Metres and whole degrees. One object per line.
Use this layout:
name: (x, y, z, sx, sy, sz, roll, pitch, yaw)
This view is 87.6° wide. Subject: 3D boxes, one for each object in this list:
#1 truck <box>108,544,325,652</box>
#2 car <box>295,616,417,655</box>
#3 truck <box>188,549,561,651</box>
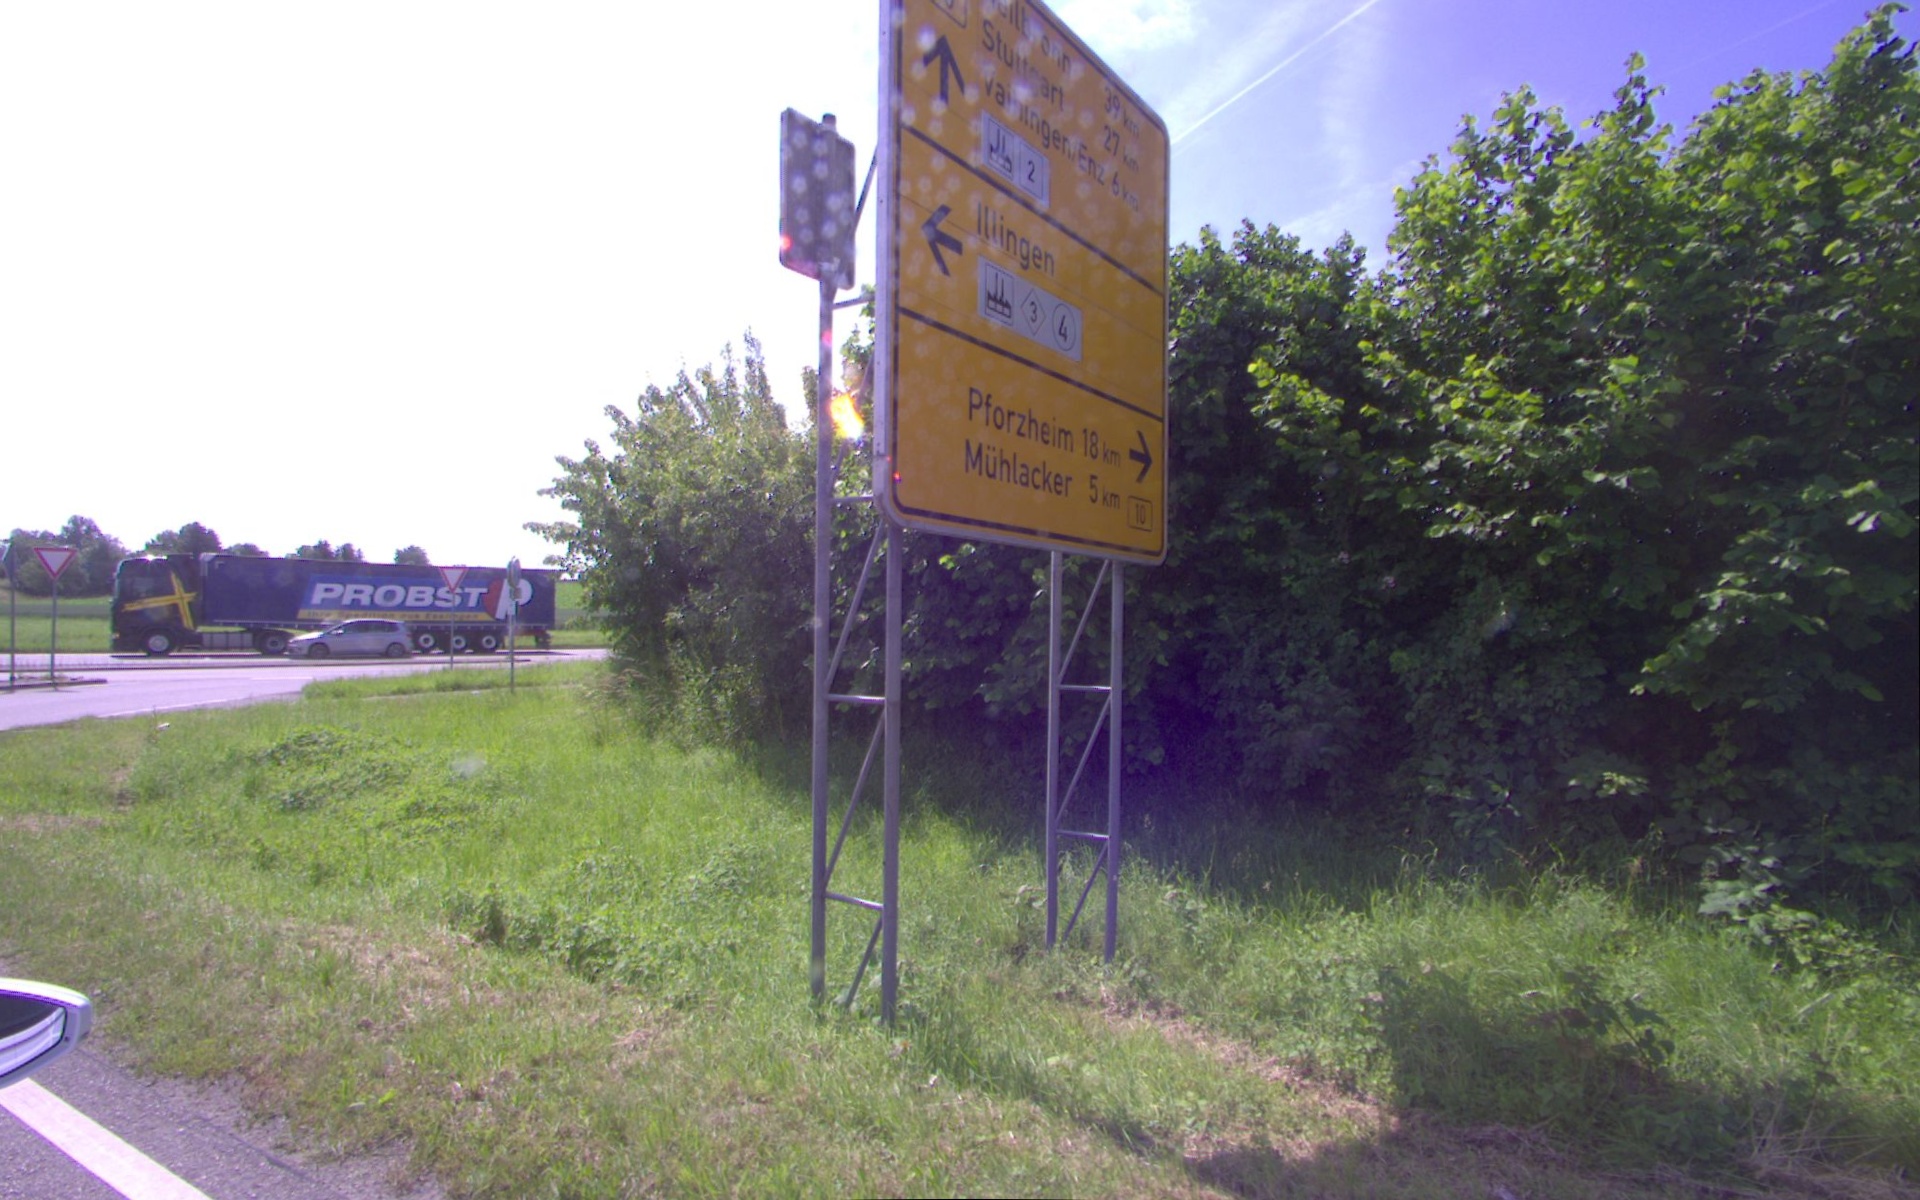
truck: (-30.389, 0.019, 41.083, 6.882, 4.046, 3.000, 2, -1, -42)
car: (-24.164, 1.424, 40.131, 3.968, 1.510, 1.524, 1, -2, -43)
truck: (-25.719, 0.204, 45.015, 14.167, 4.031, 3.003, 2, -1, -39)
